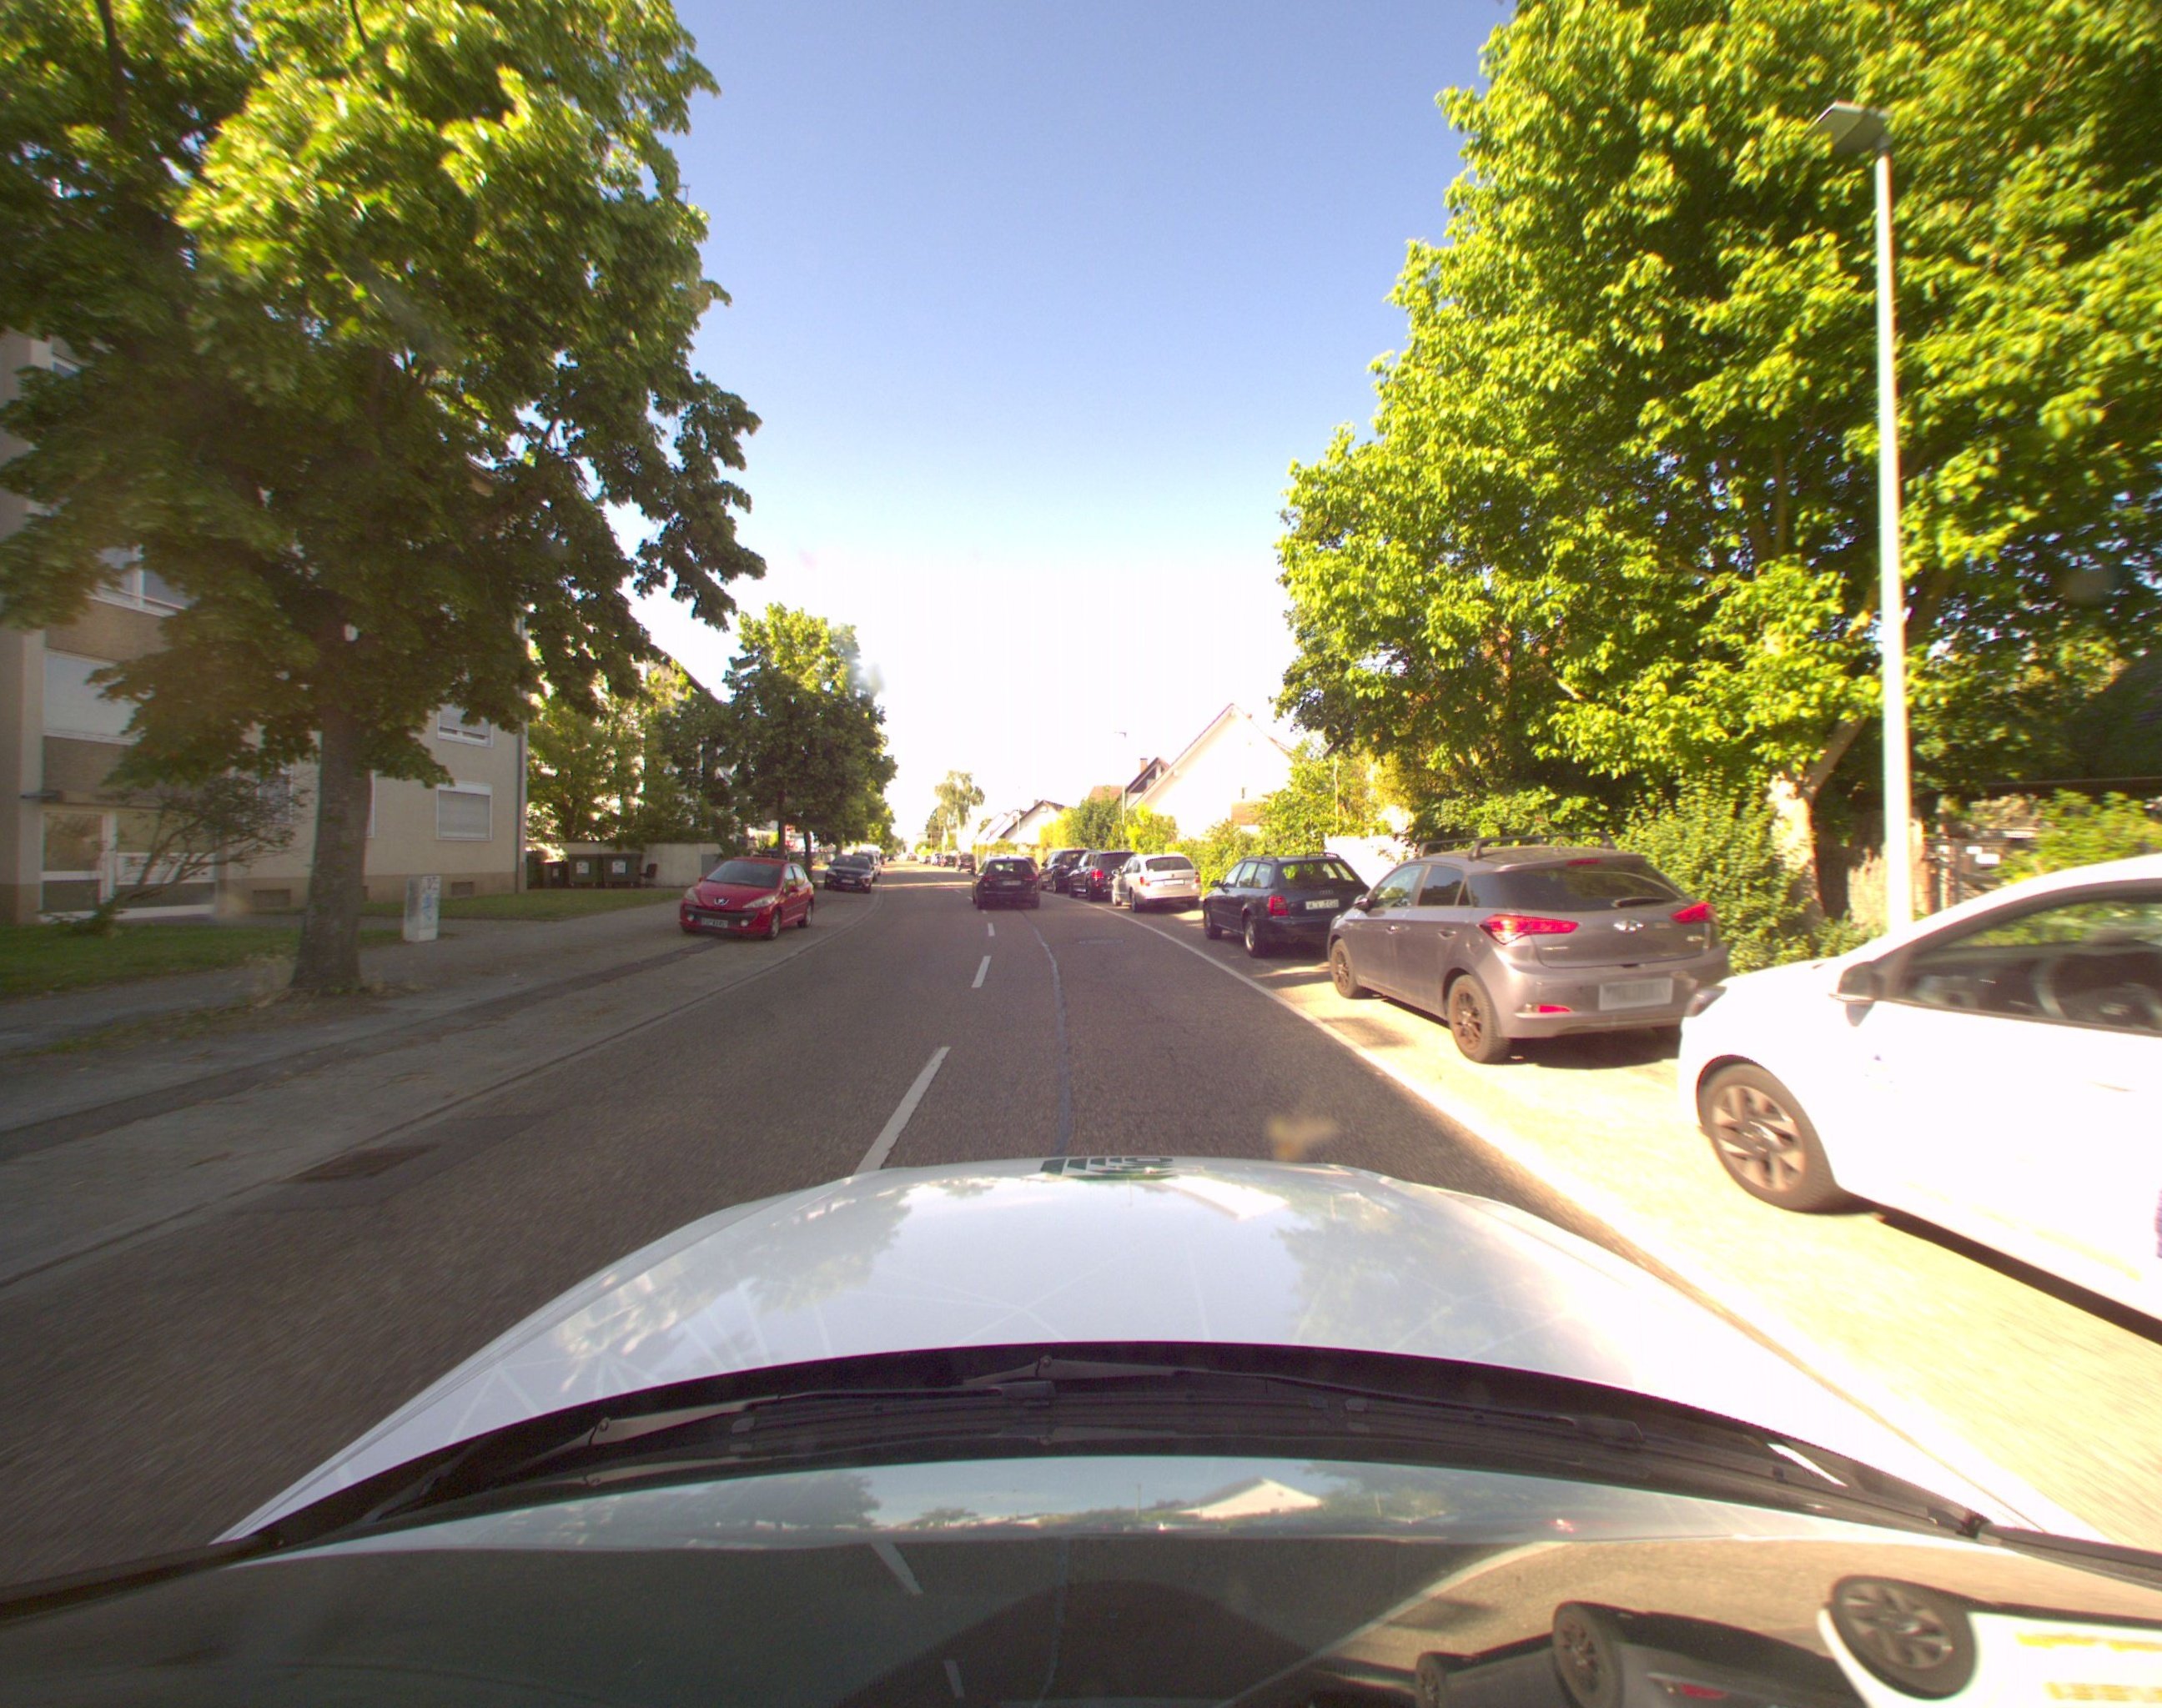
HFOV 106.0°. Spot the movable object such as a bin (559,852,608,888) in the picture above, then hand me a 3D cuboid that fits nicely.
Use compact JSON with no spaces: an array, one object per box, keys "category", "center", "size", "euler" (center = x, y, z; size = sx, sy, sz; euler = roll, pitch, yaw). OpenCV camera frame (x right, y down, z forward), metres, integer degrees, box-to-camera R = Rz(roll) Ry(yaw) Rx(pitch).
[{"category":"movable object such as a bin","center":[-18.806,0.624,30.805],"size":[1.170,1.321,1.086],"euler":[0,-2,-4]}]

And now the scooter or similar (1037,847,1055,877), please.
[{"category":"scooter or similar","center":[-2.422,0.560,55.994],"size":[0.686,2.014,2.949],"euler":[0,-2,-12]}]

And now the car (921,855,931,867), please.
[{"category":"car","center":[-27.363,1.210,143.722],"size":[1.751,2.014,3.933],"euler":[0,-2,-12]}]

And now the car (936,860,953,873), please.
[{"category":"car","center":[-18.663,1.751,111.067],"size":[2.008,1.724,4.273],"euler":[-1,-1,-14]}]

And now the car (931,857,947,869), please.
[{"category":"car","center":[-20.313,1.276,116.427],"size":[2.008,1.724,4.273],"euler":[-1,-1,-14]}]

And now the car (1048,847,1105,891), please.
[{"category":"car","center":[-0.256,0.582,33.344],"size":[1.900,1.666,4.182],"euler":[-1,-1,-6]}]

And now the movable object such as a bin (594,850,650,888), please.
[{"category":"movable object such as a bin","center":[-17.406,0.577,30.916],"size":[1.514,1.427,1.086],"euler":[0,-2,-4]}]

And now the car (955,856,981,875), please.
[{"category":"car","center":[-10.871,1.102,78.058],"size":[2.008,1.724,4.273],"euler":[-1,-1,-14]}]

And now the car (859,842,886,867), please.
[{"category":"car","center":[-19.848,0.039,77.632],"size":[1.905,2.170,4.276],"euler":[7,-1,-10]}]

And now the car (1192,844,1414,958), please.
[{"category":"car","center":[3.260,0.639,12.987],"size":[2.003,1.475,4.285],"euler":[-1,-1,-6]}]

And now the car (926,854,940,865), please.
[{"category":"car","center":[-25.208,0.908,138.520],"size":[2.008,1.724,4.273],"euler":[-1,-1,-14]}]

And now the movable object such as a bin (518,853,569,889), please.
[{"category":"movable object such as a bin","center":[-20.225,0.649,30.658],"size":[1.170,1.321,1.086],"euler":[0,-2,-4]}]

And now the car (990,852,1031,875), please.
[{"category":"car","center":[-4.614,0.617,52.869],"size":[1.919,1.407,4.272],"euler":[-1,-1,-15]}]

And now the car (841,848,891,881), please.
[{"category":"car","center":[-12.321,0.598,46.929],"size":[1.832,1.630,4.283],"euler":[6,-1,-5]}]

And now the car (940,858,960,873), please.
[{"category":"car","center":[-15.692,1.324,97.094],"size":[2.008,1.724,4.273],"euler":[-1,-1,-14]}]

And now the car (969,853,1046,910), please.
[{"category":"car","center":[-2.271,0.748,24.171],"size":[1.763,1.491,4.273],"euler":[-1,0,-12]}]

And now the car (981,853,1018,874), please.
[{"category":"car","center":[-5.774,0.681,57.278],"size":[1.919,1.407,4.272],"euler":[-1,-1,-15]}]

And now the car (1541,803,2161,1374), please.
[{"category":"car","center":[3.665,0.603,2.762],"size":[1.755,1.480,4.293],"euler":[-1,-1,0]}]

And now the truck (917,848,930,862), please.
[{"category":"truck","center":[-30.989,0.235,160.241],"size":[2.208,2.600,5.120],"euler":[0,-2,-13]}]

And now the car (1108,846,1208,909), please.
[{"category":"car","center":[1.986,0.610,22.258],"size":[1.819,1.534,4.248],"euler":[-1,-1,-7]}]

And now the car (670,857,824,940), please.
[{"category":"car","center":[-6.690,0.821,16.807],"size":[1.686,1.491,4.283],"euler":[1,0,-5]}]

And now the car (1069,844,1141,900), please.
[{"category":"car","center":[0.740,0.575,27.712],"size":[2.002,1.724,4.287],"euler":[-1,-1,-4]}]

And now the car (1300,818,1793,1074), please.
[{"category":"car","center":[3.564,0.580,7.354],"size":[1.906,1.600,4.291],"euler":[-1,0,-2]}]

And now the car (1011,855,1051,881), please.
[{"category":"car","center":[-2.912,0.772,46.551],"size":[1.915,1.407,4.281],"euler":[-1,-1,-9]}]

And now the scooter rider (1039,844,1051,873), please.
[{"category":"scooter rider","center":[-2.455,0.326,56.076],"size":[0.686,2.014,0.816],"euler":[0,-2,-13]}]
